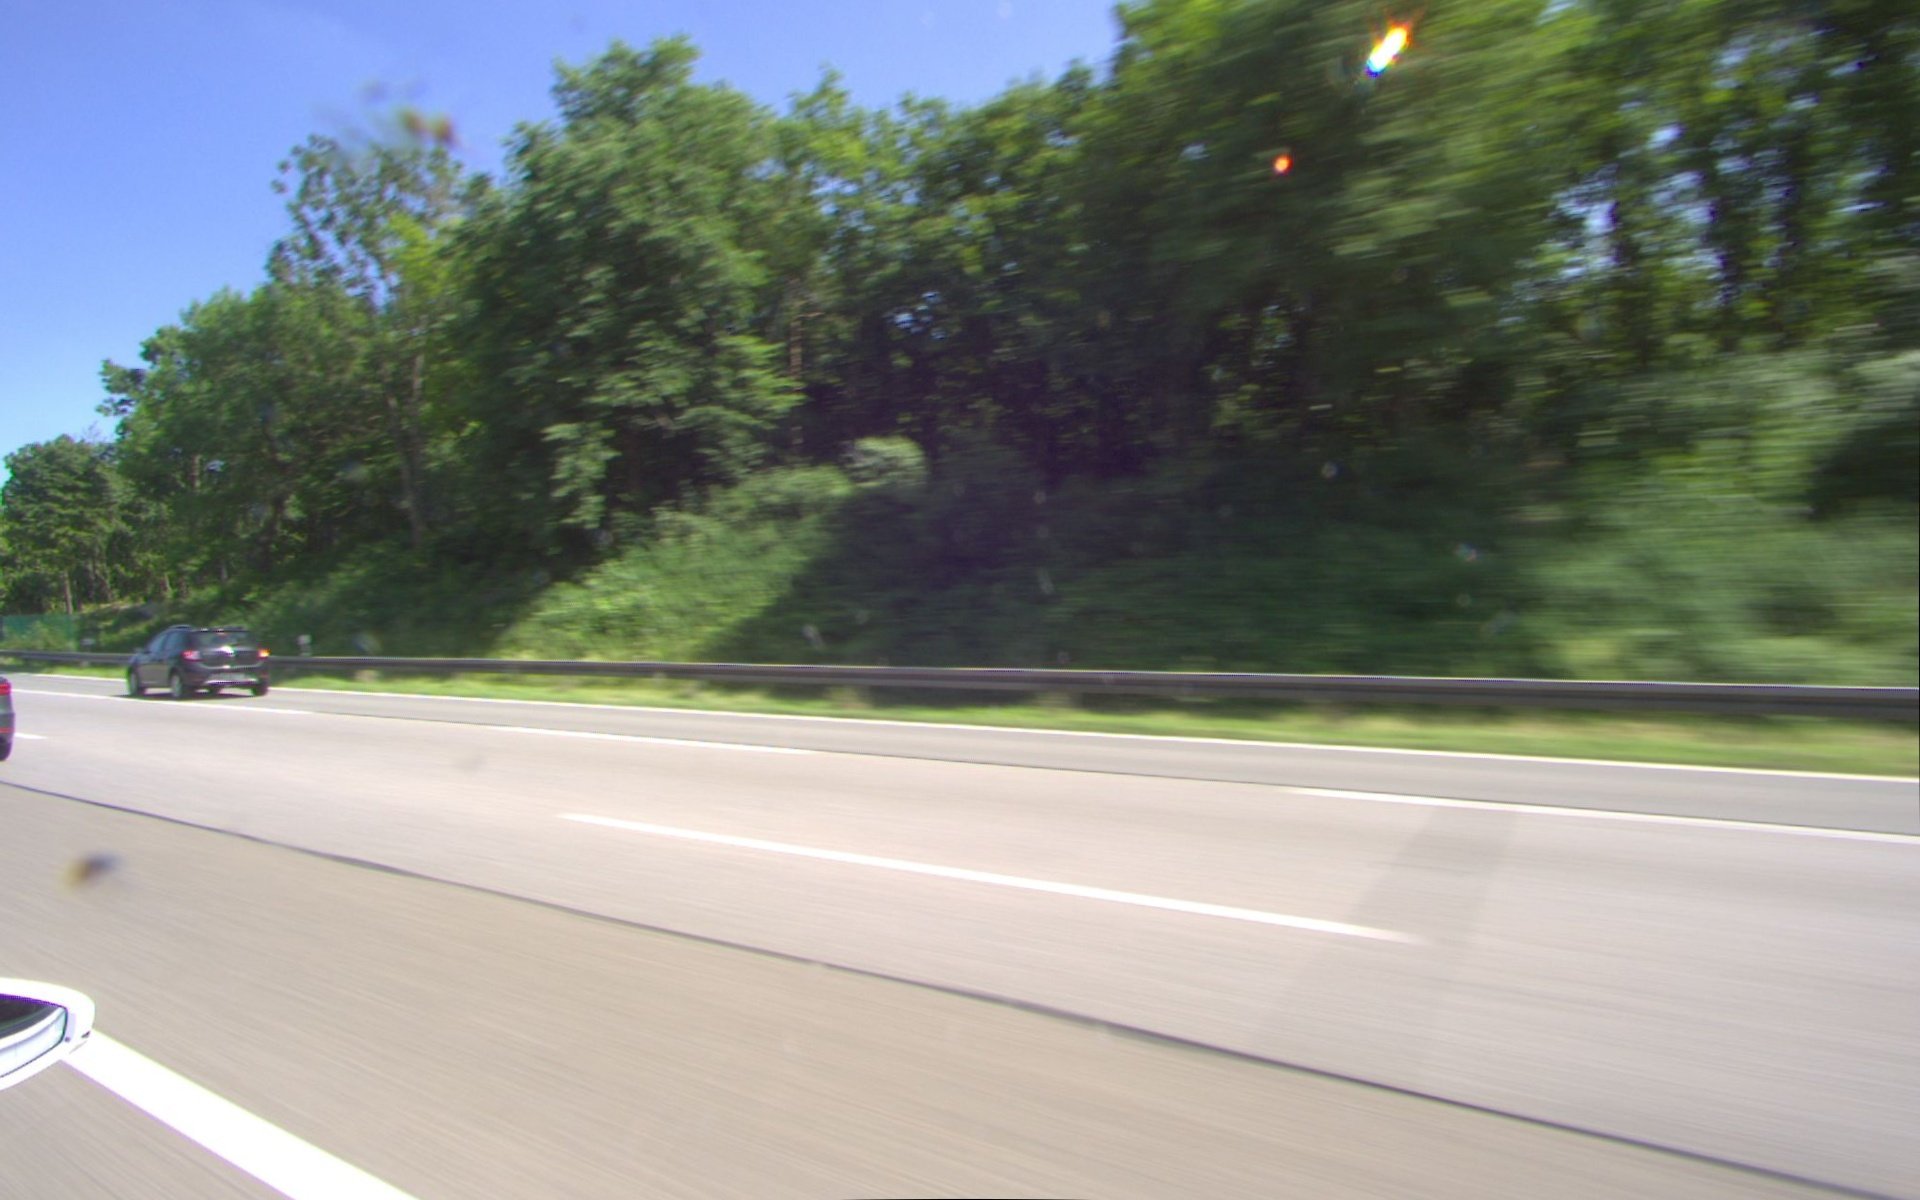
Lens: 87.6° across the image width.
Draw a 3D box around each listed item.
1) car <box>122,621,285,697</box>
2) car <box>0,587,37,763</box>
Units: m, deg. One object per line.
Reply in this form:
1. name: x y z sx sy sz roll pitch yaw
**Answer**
1. car: -17.415 1.292 23.006 4.200 1.588 1.761 -1 -1 34
2. car: -12.702 0.845 11.628 4.757 1.901 1.661 -1 1 32
